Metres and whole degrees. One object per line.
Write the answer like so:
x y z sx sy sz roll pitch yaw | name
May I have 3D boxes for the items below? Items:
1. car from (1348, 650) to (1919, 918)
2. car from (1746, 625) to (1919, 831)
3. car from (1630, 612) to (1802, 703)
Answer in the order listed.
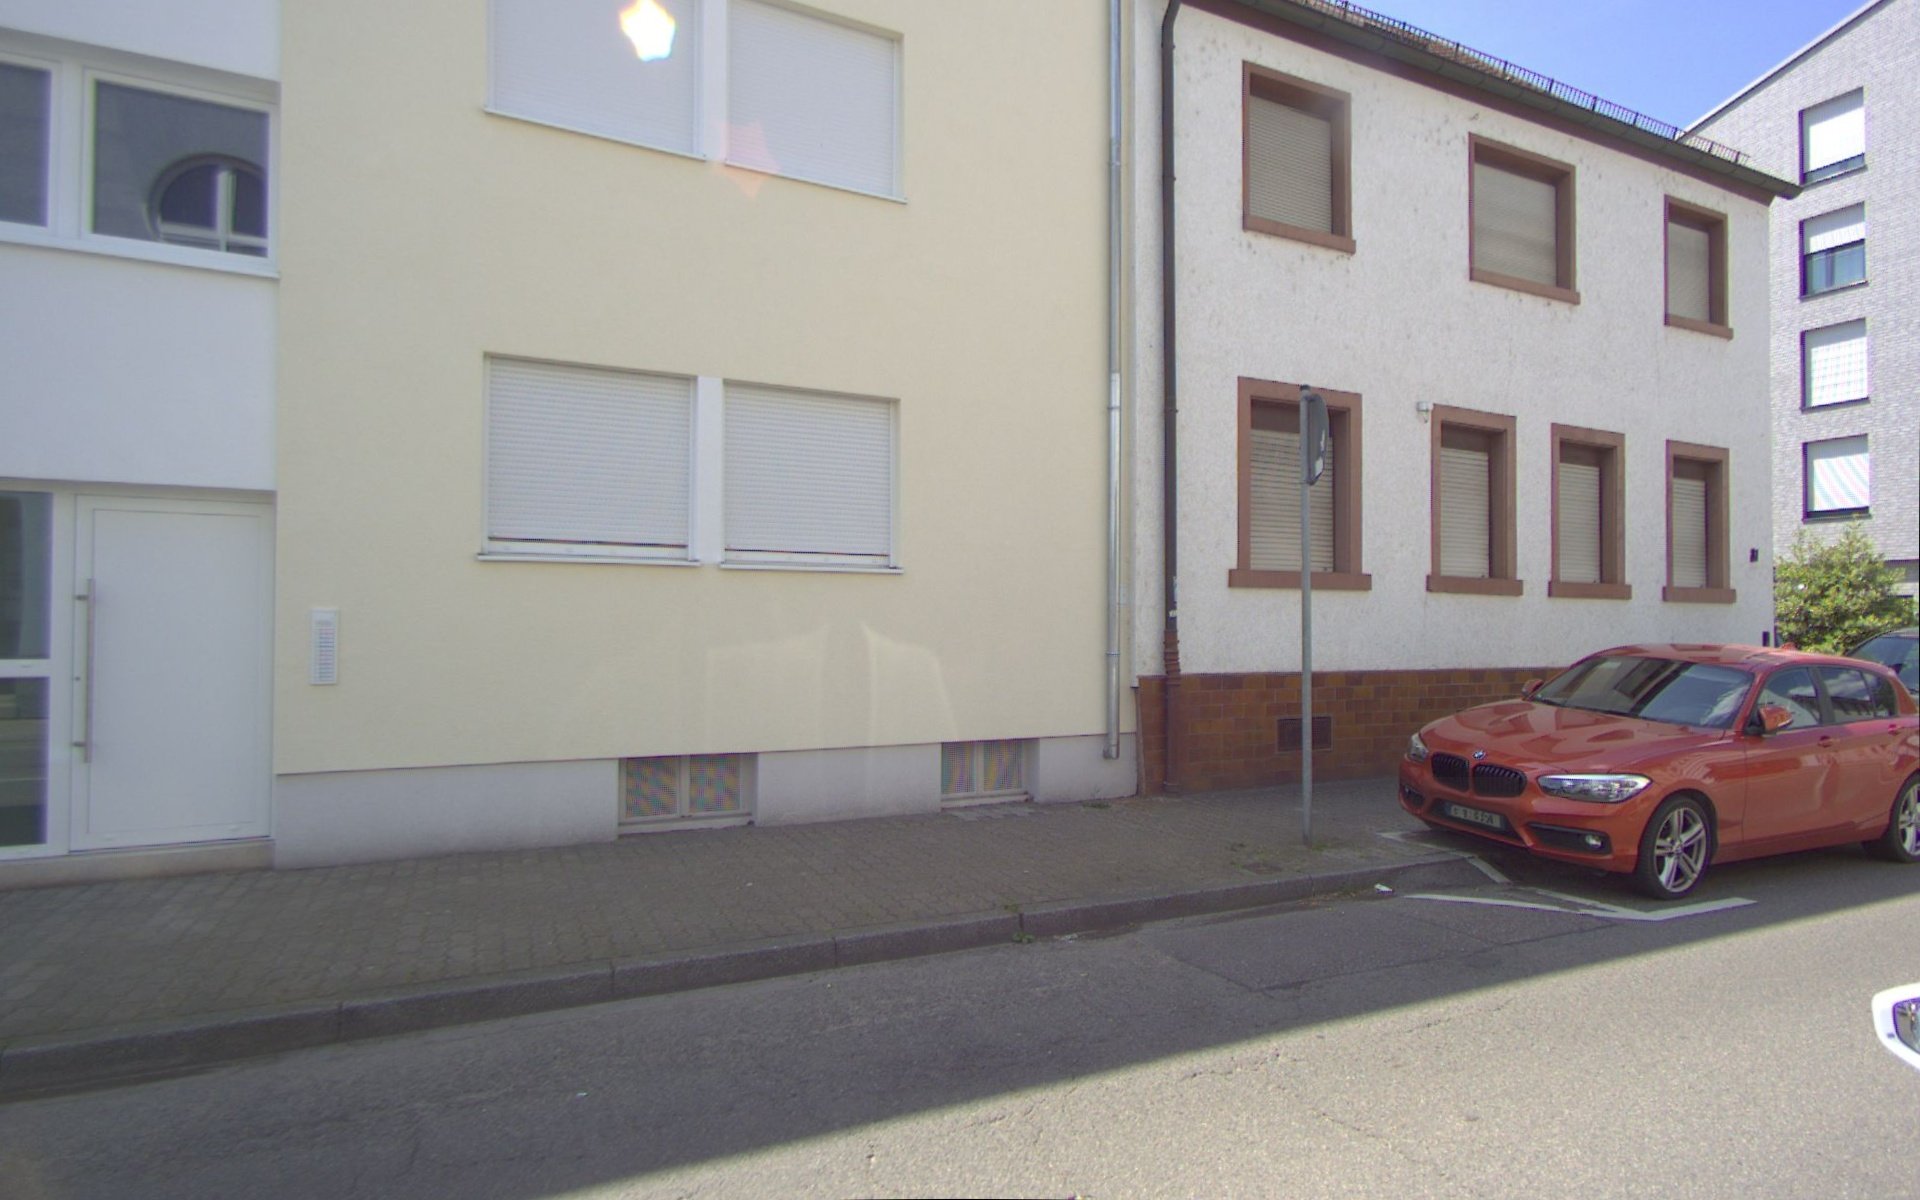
5.067 1.093 7.233 4.230 1.435 1.829 1 -2 -24 | car
9.473 1.105 9.429 3.892 1.668 1.789 1 -1 -26 | car
14.530 1.024 19.525 1.606 1.560 3.564 1 0 19 | car
